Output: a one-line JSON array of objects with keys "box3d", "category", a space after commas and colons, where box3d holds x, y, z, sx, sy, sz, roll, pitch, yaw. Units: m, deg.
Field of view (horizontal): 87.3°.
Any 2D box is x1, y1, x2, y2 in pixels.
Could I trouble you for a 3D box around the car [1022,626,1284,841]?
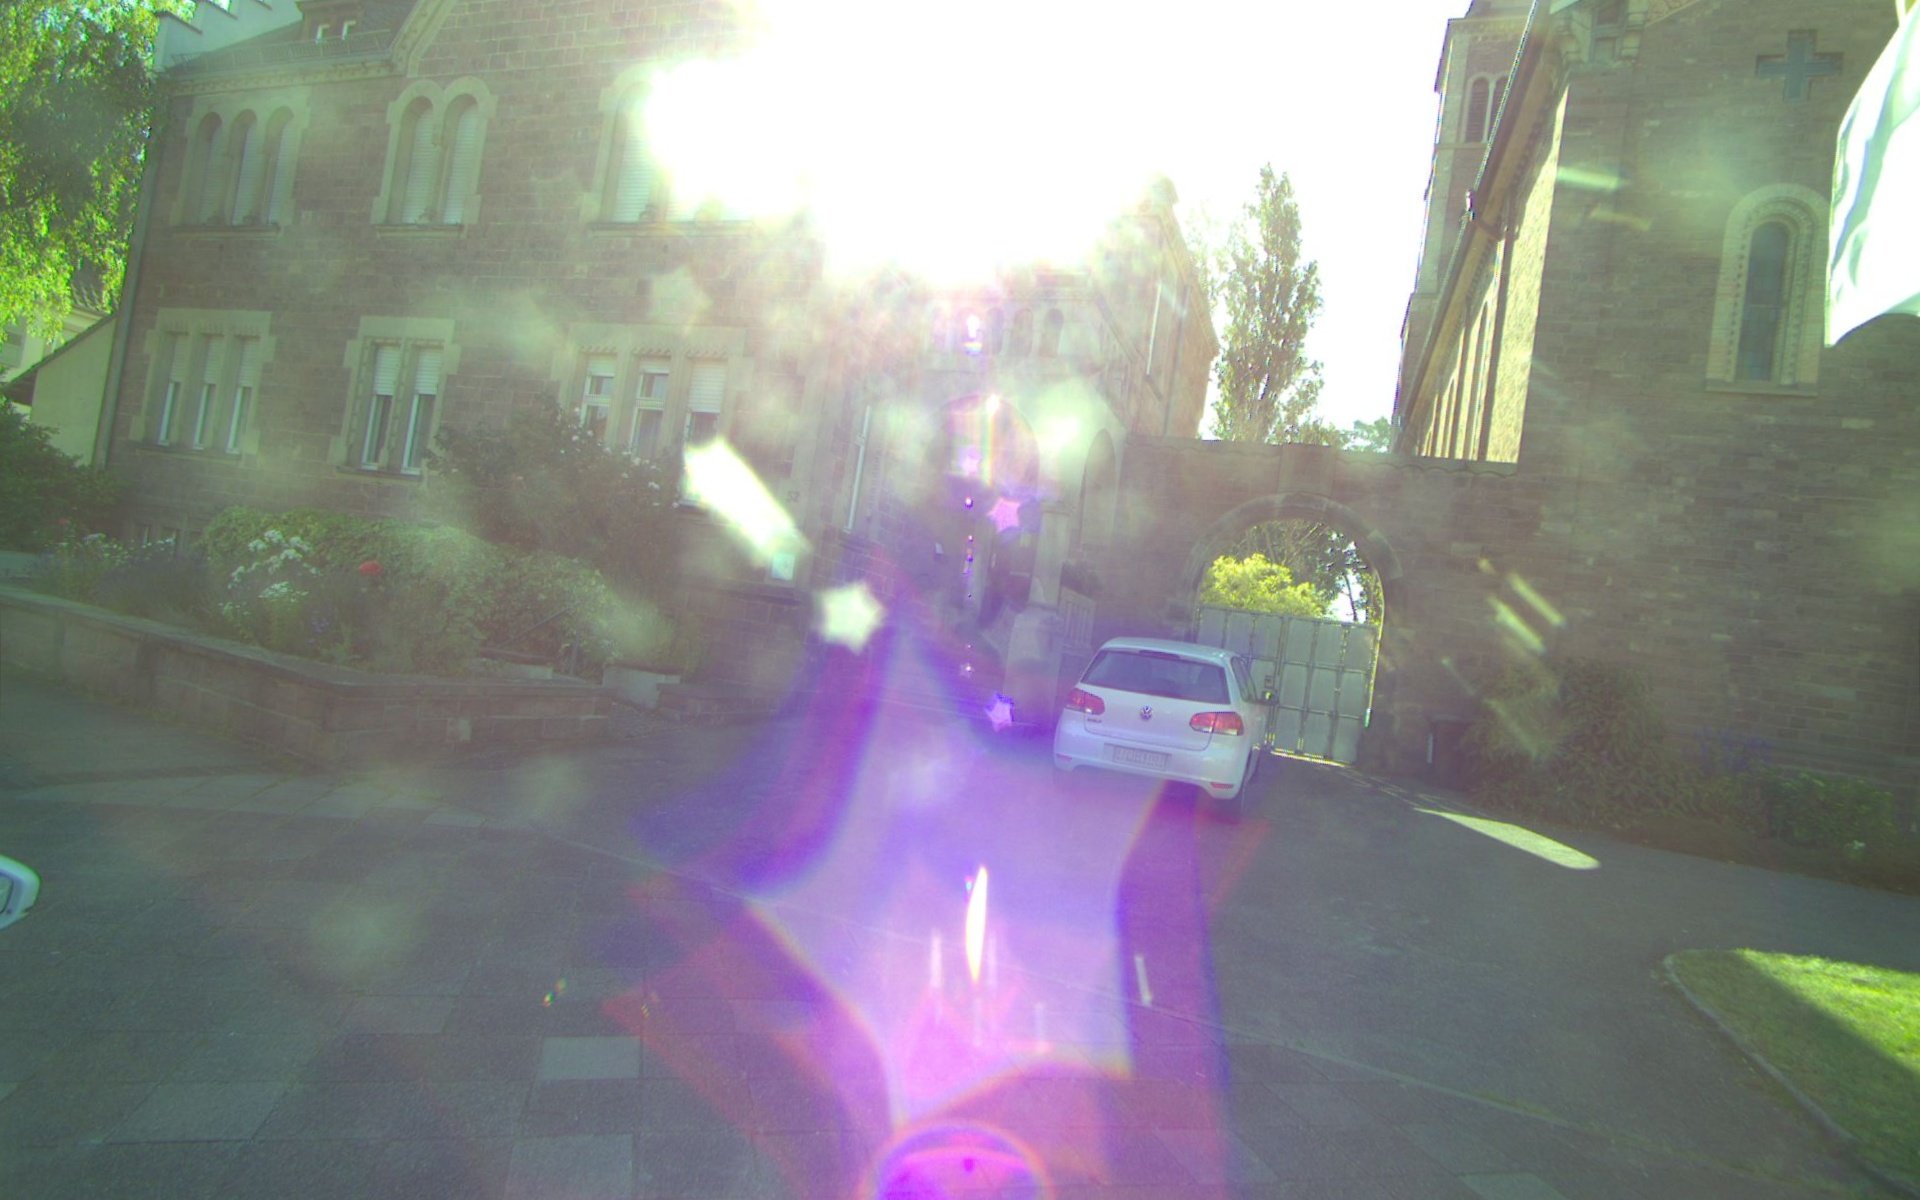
[{"box3d": [2.140, 1.147, 10.137, 1.869, 1.515, 3.909, 6, 0, 20], "category": "car"}]
